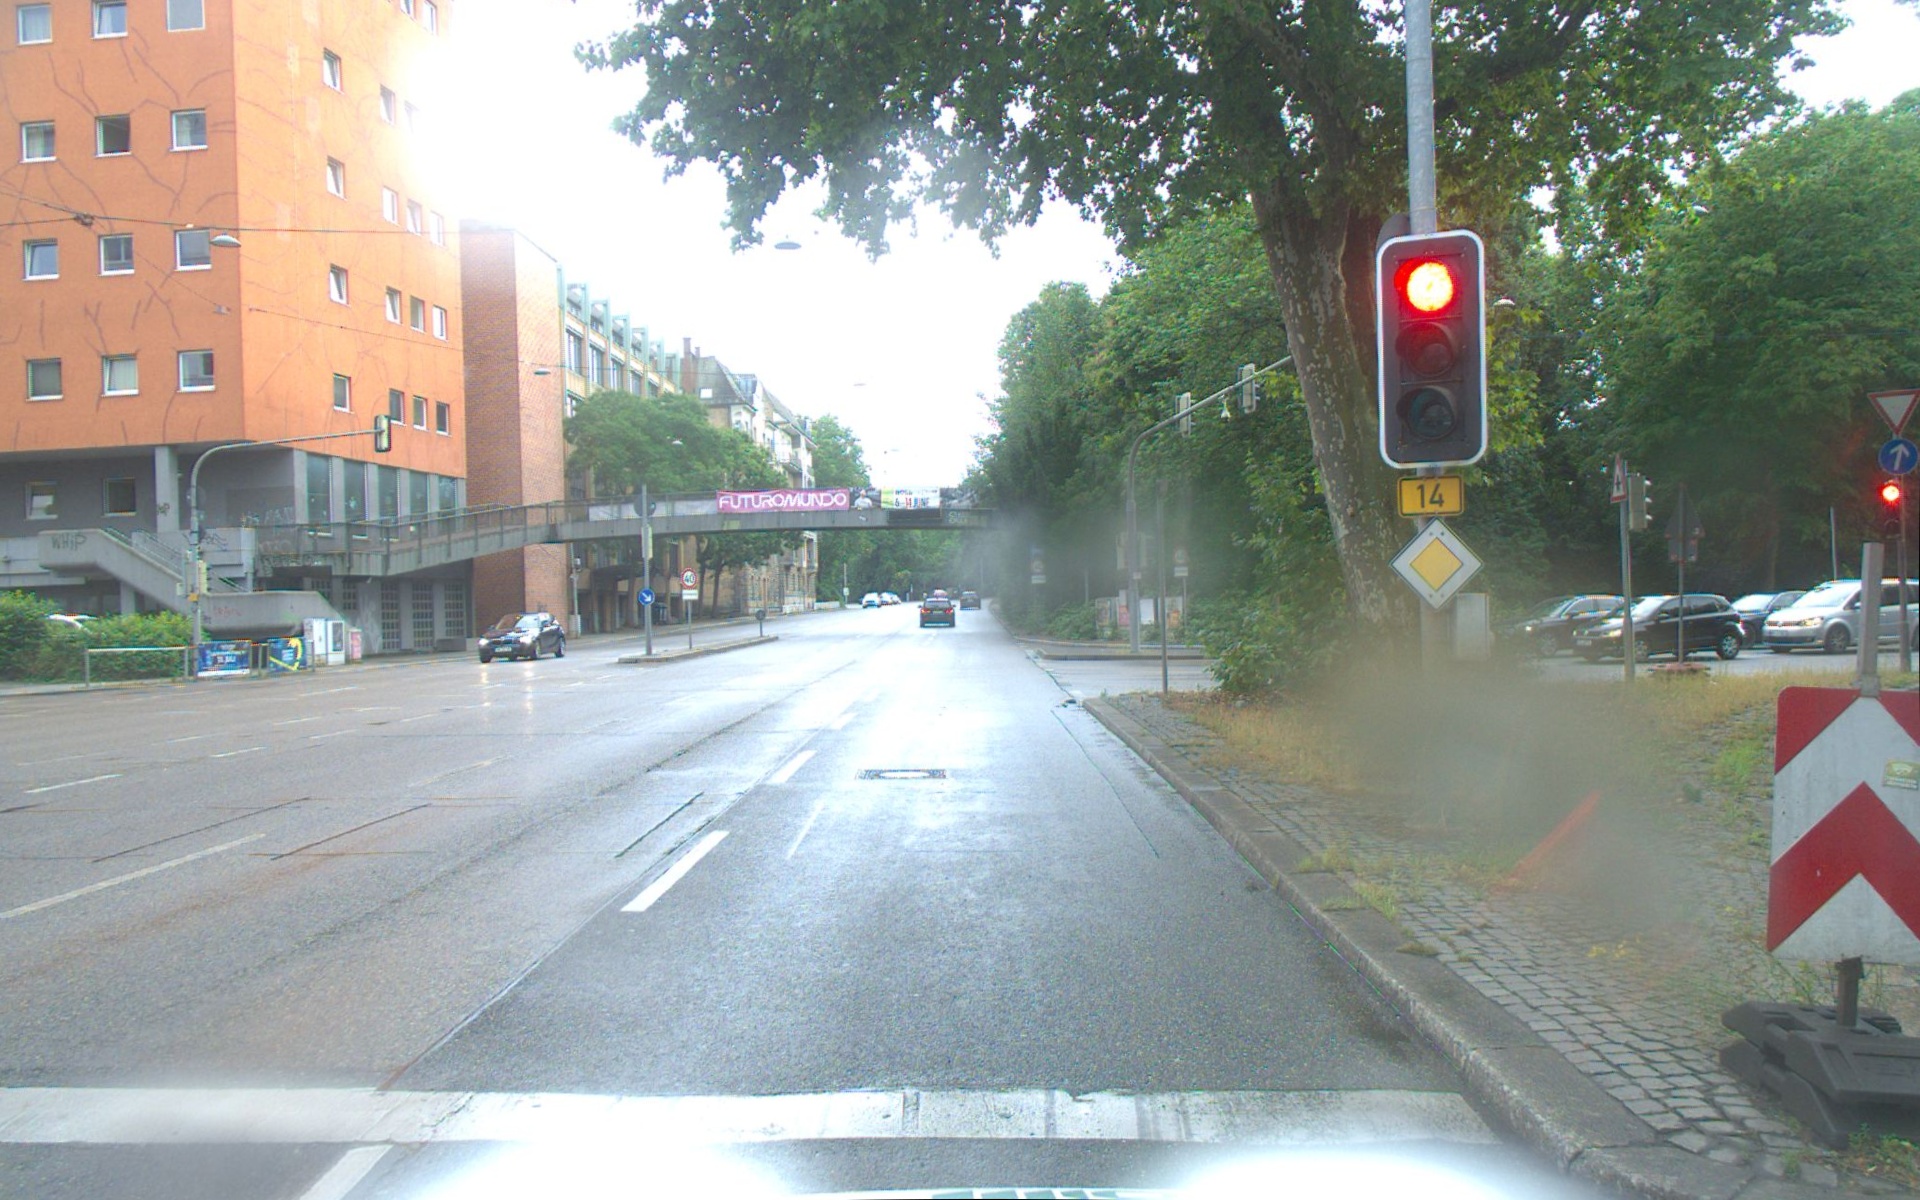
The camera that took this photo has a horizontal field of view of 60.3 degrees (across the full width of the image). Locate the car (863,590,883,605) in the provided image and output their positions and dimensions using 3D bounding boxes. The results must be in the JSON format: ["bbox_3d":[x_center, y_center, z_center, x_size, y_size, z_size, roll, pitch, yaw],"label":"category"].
[{"bbox_3d":[-9.636,-0.295,183.550,1.850,1.638,4.457,-1,0,2],"label":"car"}]

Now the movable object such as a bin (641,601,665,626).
[{"bbox_3d":[-19.801,0.872,106.695,1.256,1.545,1.273,-1,0,1],"label":"movable object such as a bin"}]

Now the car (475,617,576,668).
[{"bbox_3d":[-13.242,1.289,50.621,1.650,1.444,4.216,-2,-1,4],"label":"car"}]

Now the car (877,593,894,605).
[{"bbox_3d":[-9.376,-0.127,208.369,1.673,1.490,4.042,-2,0,2],"label":"car"}]

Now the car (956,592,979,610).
[{"bbox_3d":[0.626,0.070,138.593,1.805,1.478,3.776,1,0,-1],"label":"car"}]

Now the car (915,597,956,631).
[{"bbox_3d":[-1.256,0.694,84.528,1.964,1.672,4.374,-1,0,-2],"label":"car"}]

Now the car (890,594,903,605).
[{"bbox_3d":[-9.064,-0.062,234.793,1.648,1.461,3.862,-2,0,0],"label":"car"}]

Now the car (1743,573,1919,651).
[{"bbox_3d":[20.617,0.297,38.504,4.129,1.709,1.898,1,0,-17],"label":"car"}]

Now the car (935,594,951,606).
[{"bbox_3d":[-2.445,-0.024,238.471,1.853,1.638,4.450,-1,0,-6],"label":"car"}]

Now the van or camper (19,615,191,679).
[{"bbox_3d":[-24.396,1.328,47.257,3.902,1.656,1.915,-1,0,5],"label":"van or camper"}]

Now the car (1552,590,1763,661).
[{"bbox_3d":[15.375,0.566,36.509,4.119,1.486,1.785,1,0,-17],"label":"car"}]

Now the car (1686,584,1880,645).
[{"bbox_3d":[20.849,0.373,41.925,4.361,1.427,1.821,1,0,-17],"label":"car"}]

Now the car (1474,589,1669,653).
[{"bbox_3d":[14.867,0.513,40.260,4.131,1.466,1.941,1,0,-17],"label":"car"}]

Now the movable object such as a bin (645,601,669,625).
[{"bbox_3d":[-19.824,0.826,108.170,1.272,1.545,1.214,-1,0,1],"label":"movable object such as a bin"}]
